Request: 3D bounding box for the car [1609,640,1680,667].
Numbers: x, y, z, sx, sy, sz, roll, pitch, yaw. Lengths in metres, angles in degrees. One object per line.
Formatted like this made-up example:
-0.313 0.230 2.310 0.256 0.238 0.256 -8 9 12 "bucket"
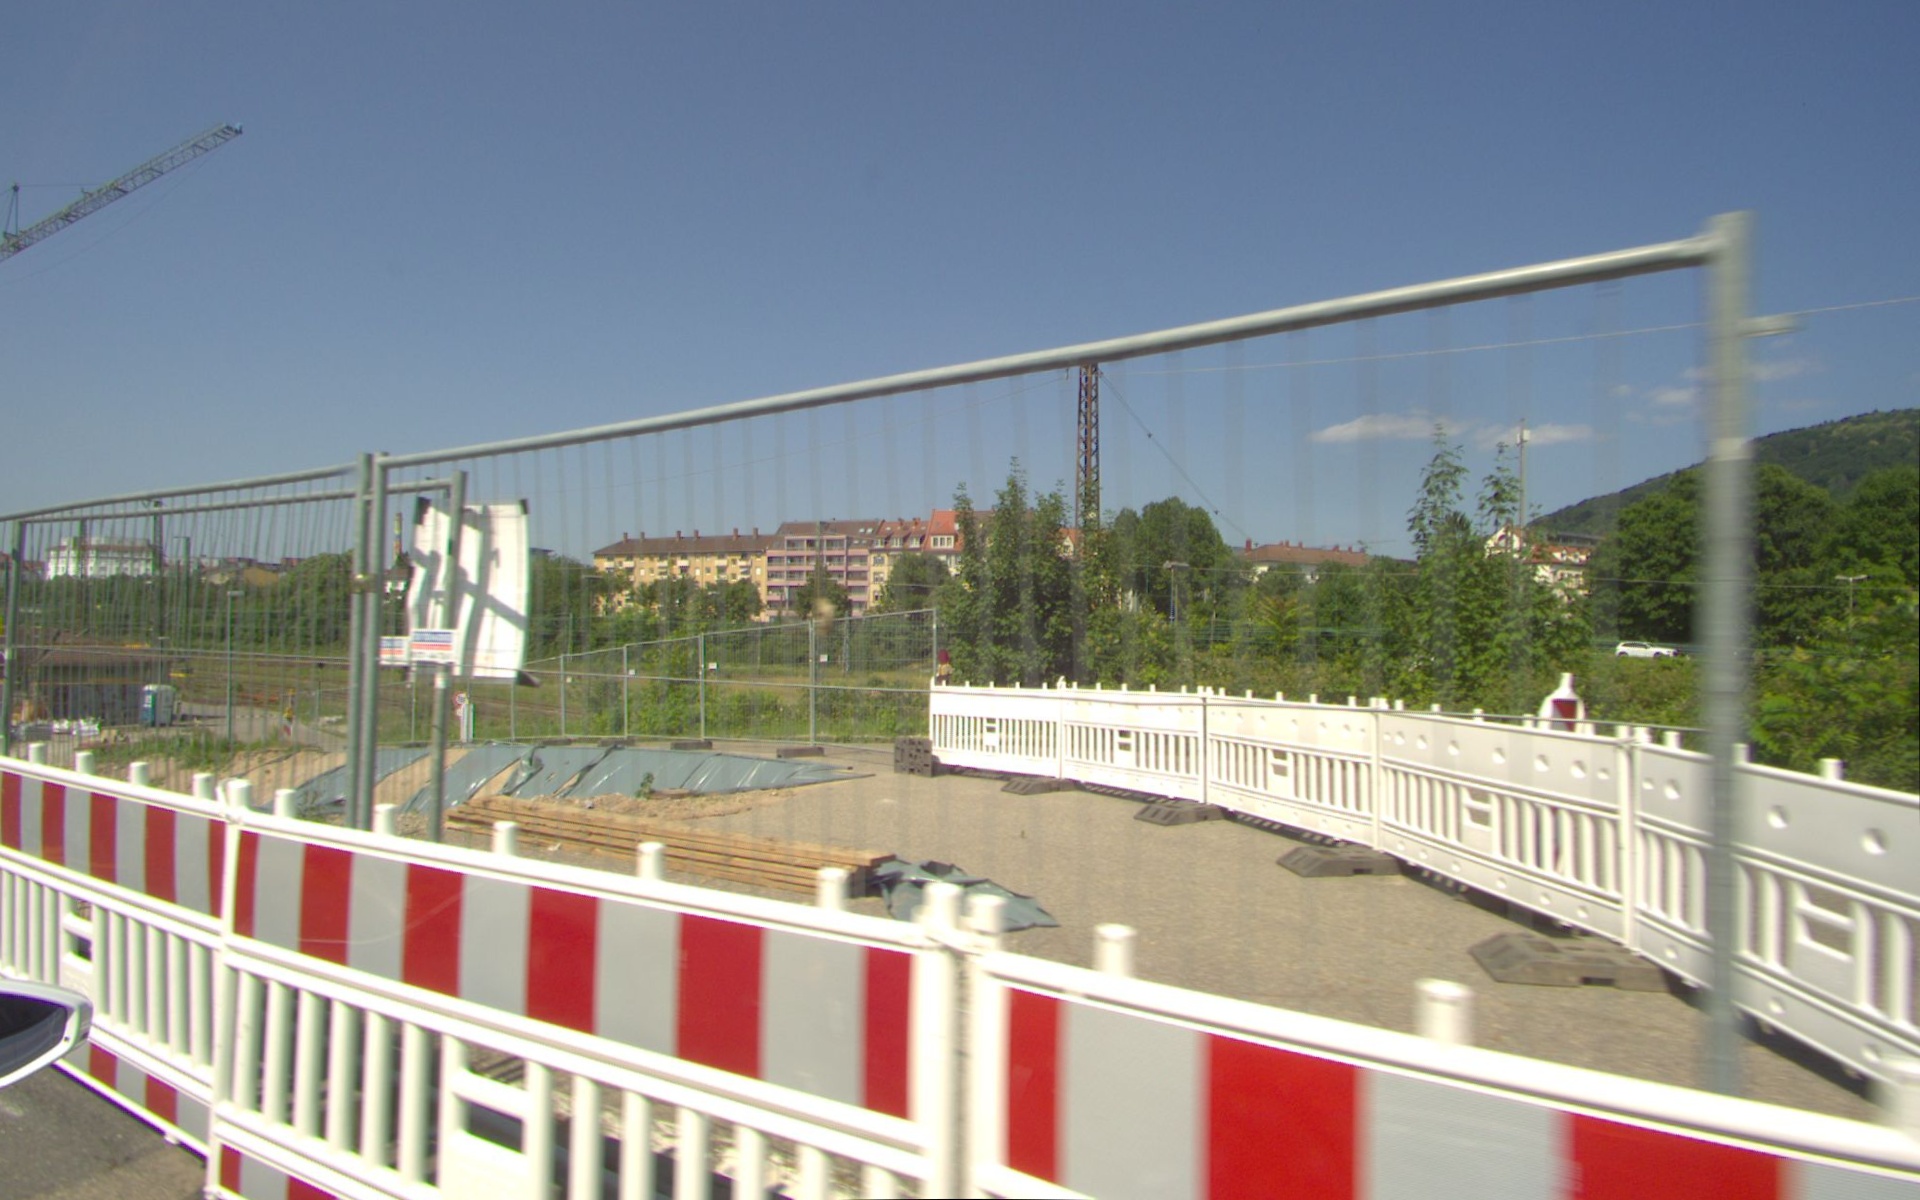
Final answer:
58.479 4.543 85.580 4.930 2.140 1.986 0 -1 39 "car"
